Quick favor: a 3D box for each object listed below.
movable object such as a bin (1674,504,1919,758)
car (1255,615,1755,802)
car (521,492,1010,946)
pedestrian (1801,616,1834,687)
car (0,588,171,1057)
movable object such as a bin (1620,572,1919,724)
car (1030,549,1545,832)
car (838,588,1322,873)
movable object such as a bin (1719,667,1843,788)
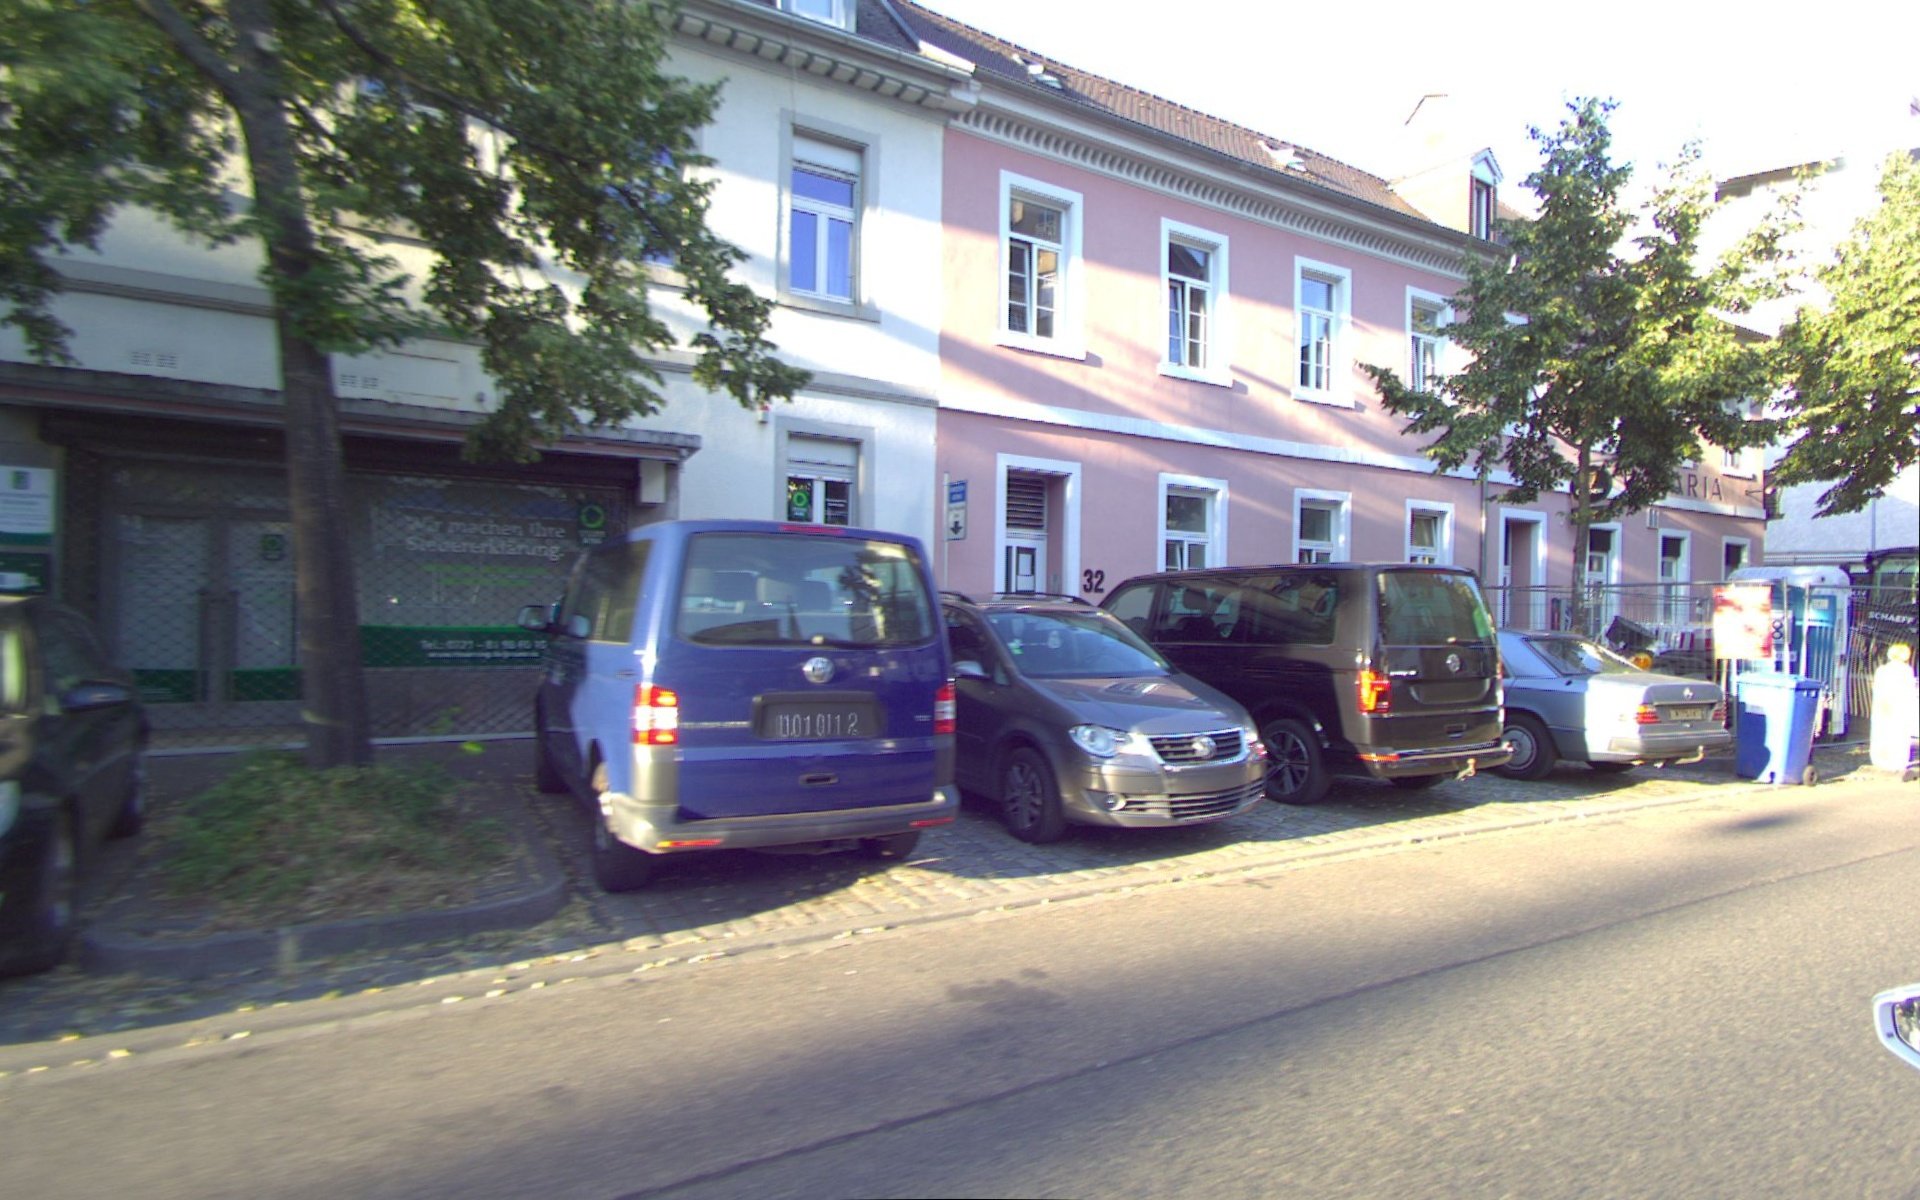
[{"bbox_3d":[13.008,0.427,14.376,5.241,3.008,2.612,1,-1,-30],"label":"movable object such as a bin"},{"bbox_3d":[5.560,0.969,10.990,1.868,1.489,4.578,1,0,-26],"label":"car"},{"bbox_3d":[-1.689,0.537,6.895,2.043,2.002,4.464,1,0,-28],"label":"car"},{"bbox_3d":[21.642,1.299,25.345,0.715,1.760,0.500,4,-2,-39],"label":"pedestrian"},{"bbox_3d":[-5.023,0.712,4.645,1.823,1.521,4.298,1,0,-34],"label":"car"},{"bbox_3d":[15.581,0.821,18.137,5.638,2.528,2.315,1,-1,14],"label":"movable object such as a bin"},{"bbox_3d":[2.749,0.631,9.537,1.943,2.002,4.460,1,0,-31],"label":"car"},{"bbox_3d":[0.641,0.755,8.117,1.837,1.658,4.112,1,0,-28],"label":"car"},{"bbox_3d":[8.253,1.250,10.104,0.872,1.119,0.687,1,-2,-28],"label":"movable object such as a bin"}]
